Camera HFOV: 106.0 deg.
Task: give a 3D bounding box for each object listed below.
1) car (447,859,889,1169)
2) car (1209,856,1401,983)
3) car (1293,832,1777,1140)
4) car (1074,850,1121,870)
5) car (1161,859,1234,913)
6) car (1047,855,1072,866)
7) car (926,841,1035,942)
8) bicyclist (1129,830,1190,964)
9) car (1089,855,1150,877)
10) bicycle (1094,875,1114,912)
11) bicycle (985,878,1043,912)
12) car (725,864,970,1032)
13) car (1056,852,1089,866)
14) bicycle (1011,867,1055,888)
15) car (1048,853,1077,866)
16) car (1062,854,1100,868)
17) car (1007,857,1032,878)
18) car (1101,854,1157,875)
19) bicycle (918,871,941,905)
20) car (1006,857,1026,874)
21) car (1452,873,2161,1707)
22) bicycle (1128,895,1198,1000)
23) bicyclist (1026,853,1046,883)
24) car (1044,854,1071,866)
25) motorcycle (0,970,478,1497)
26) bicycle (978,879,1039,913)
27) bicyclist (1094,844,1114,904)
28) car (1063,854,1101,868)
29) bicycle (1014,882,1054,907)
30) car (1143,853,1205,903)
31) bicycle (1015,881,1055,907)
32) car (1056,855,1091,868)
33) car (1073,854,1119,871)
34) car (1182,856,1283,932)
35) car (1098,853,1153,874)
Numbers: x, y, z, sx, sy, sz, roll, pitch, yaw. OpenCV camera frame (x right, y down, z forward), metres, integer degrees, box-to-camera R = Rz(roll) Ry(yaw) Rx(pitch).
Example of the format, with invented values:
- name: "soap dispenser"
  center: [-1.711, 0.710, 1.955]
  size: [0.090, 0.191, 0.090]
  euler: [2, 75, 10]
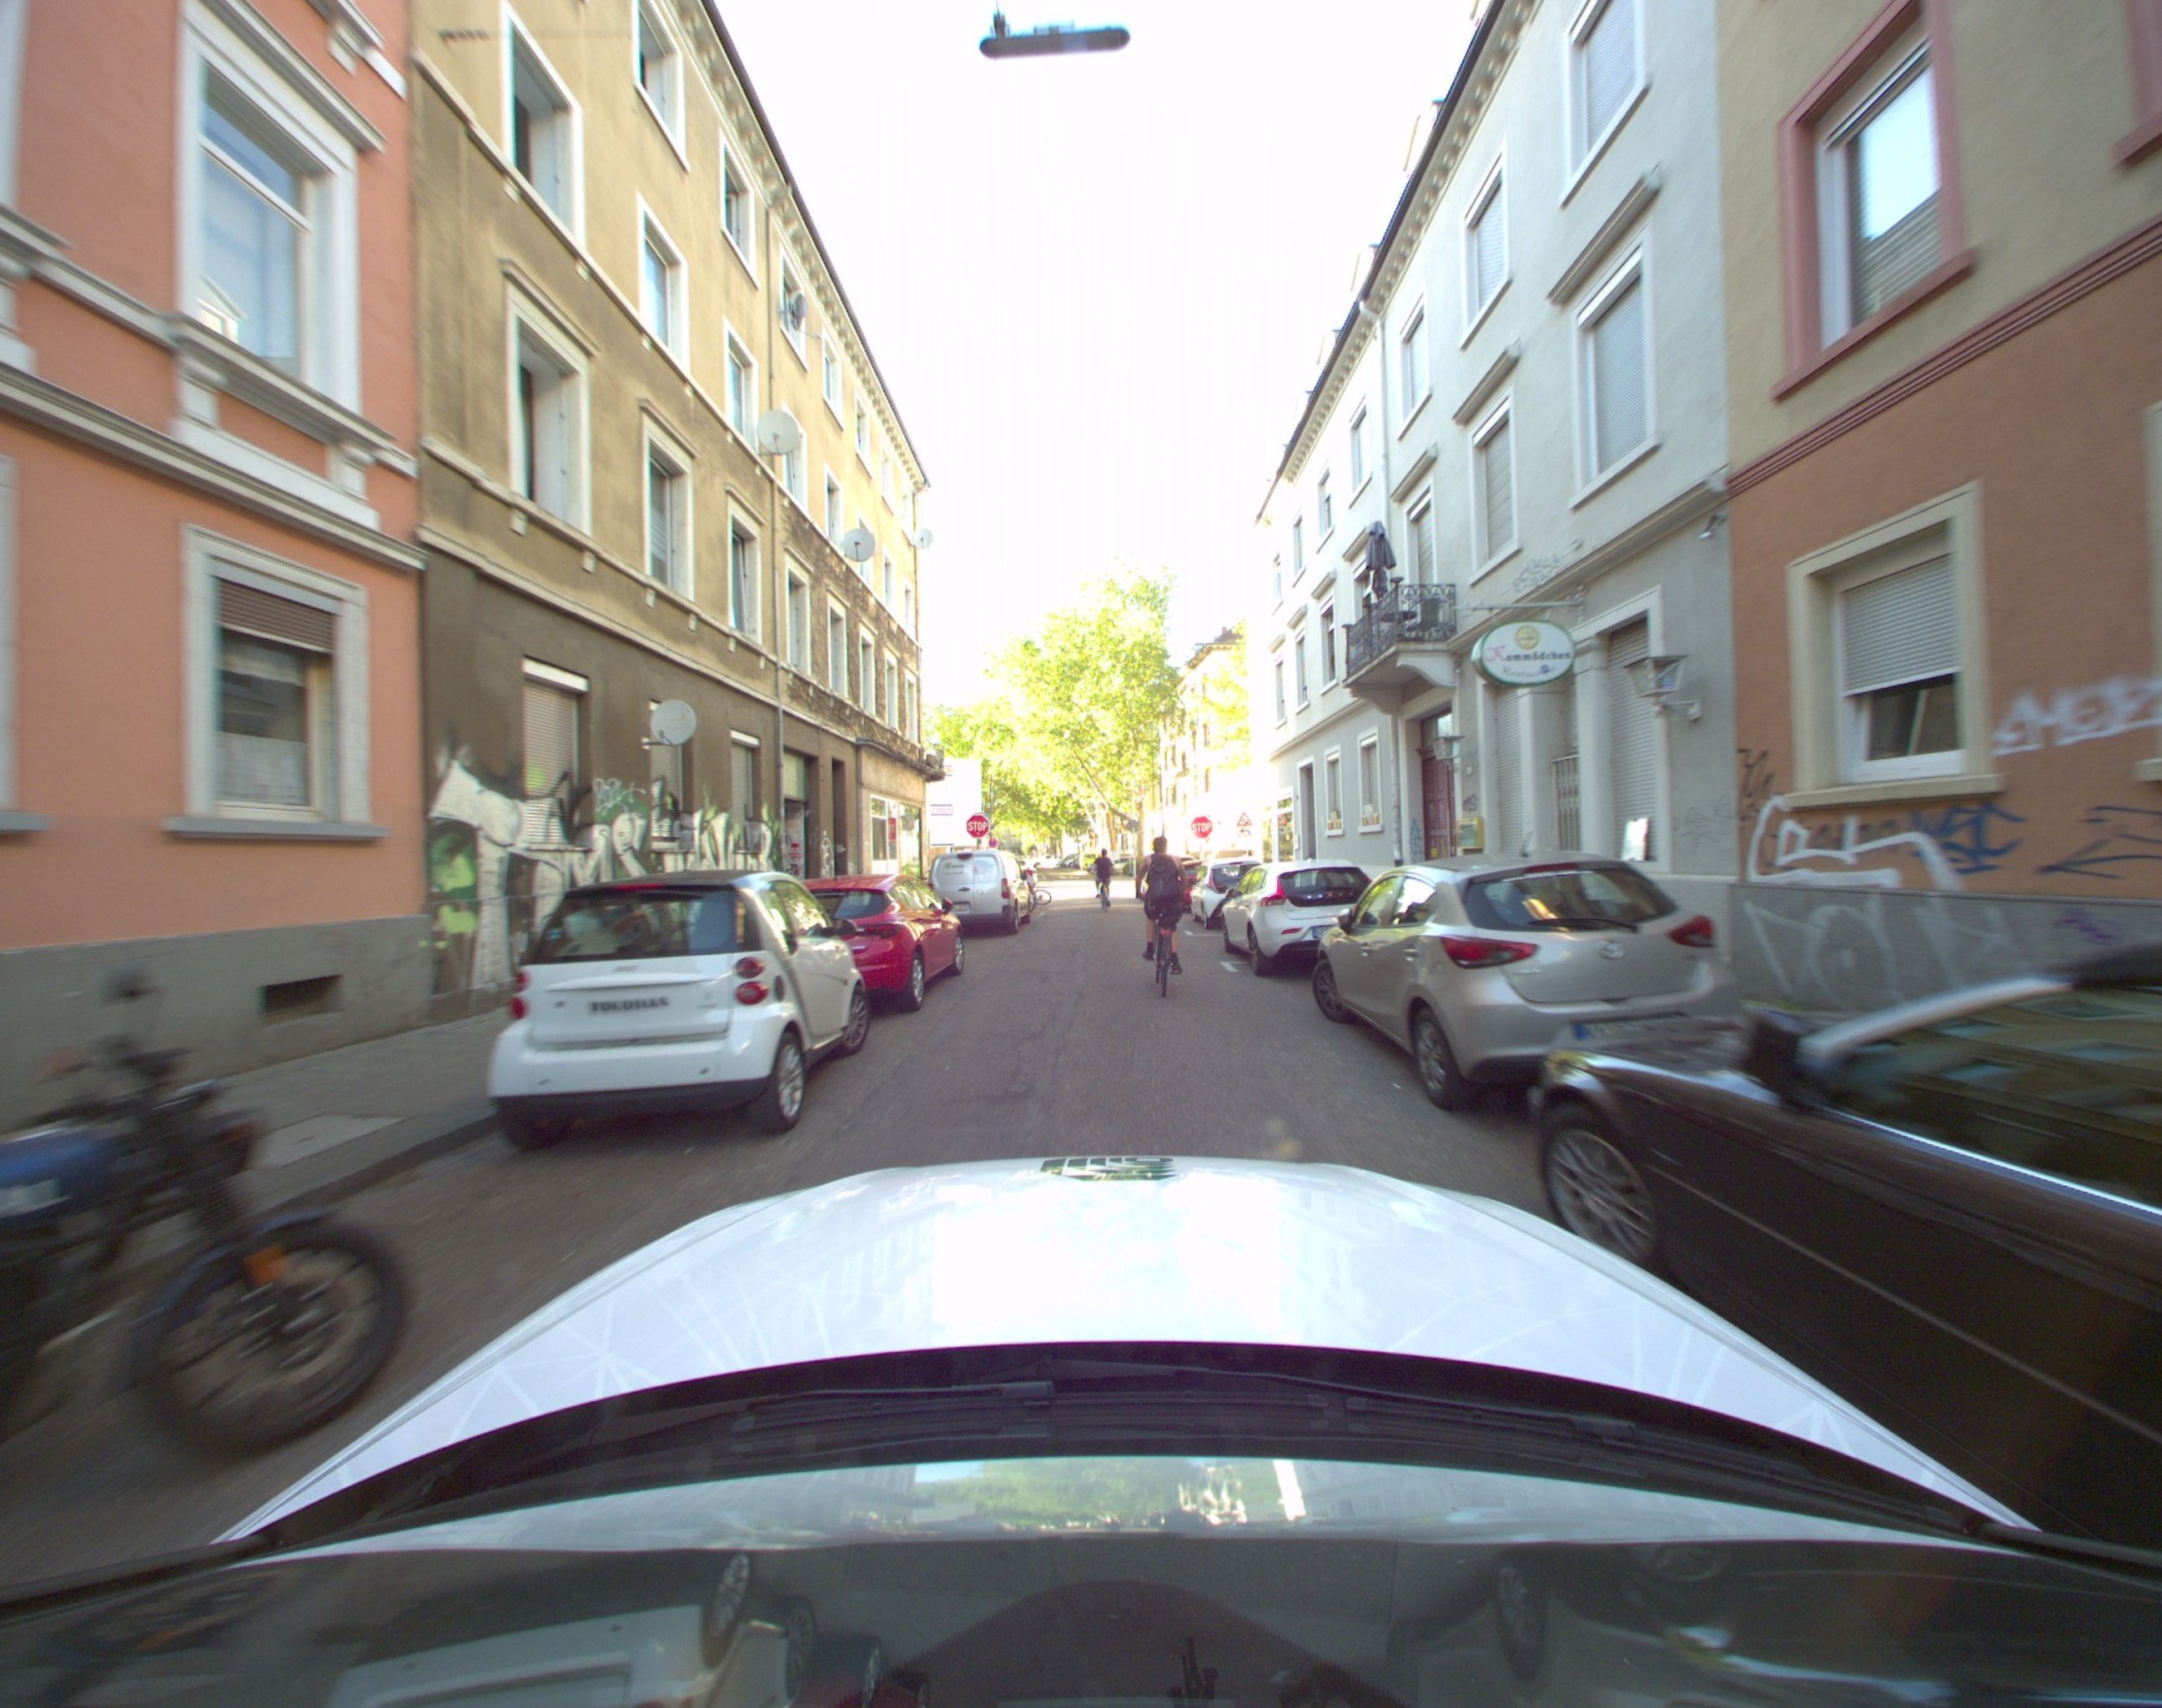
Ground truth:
- name: "car"
  center: [-2.538, 0.853, 5.819]
  size: [1.675, 1.549, 2.957]
  euler: [-3, 0, -3]
- name: "car"
  center: [3.001, 0.792, 11.792]
  size: [1.673, 1.510, 4.190]
  euler: [0, 0, 1]
- name: "car"
  center: [2.913, 0.694, 6.365]
  size: [1.672, 1.597, 4.194]
  euler: [0, 0, 4]
- name: "car"
  center: [1.628, 0.573, 80.753]
  size: [4.458, 1.836, 1.724]
  euler: [-1, 0, -8]
- name: "car"
  center: [3.435, 0.896, 24.701]
  size: [1.640, 1.503, 3.954]
  euler: [0, 0, 0]
- name: "car"
  center: [-4.049, 1.244, 150.767]
  size: [4.457, 1.898, 1.724]
  euler: [-2, 0, -7]
- name: "car"
  center: [-2.157, 0.760, 18.666]
  size: [1.673, 1.910, 4.520]
  euler: [-4, 0, 2]
- name: "bicyclist"
  center: [0.905, 0.482, 9.534]
  size: [0.674, 1.513, 0.669]
  euler: [0, -1, 1]
- name: "car"
  center: [2.916, 0.900, 62.849]
  size: [4.457, 1.571, 1.724]
  euler: [-2, 0, -7]
- name: "bicycle"
  center: [0.655, 1.117, 23.358]
  size: [0.550, 1.016, 1.628]
  euler: [-1, -1, 1]
- name: "bicycle"
  center: [-2.107, 1.278, 25.632]
  size: [1.765, 0.961, 0.479]
  euler: [-2, 0, -11]
- name: "car"
  center: [-2.520, 0.925, 9.905]
  size: [1.674, 1.473, 4.202]
  euler: [-4, 0, 0]
- name: "car"
  center: [-1.260, 0.755, 116.017]
  size: [4.457, 1.898, 1.724]
  euler: [-2, 0, -7]
- name: "bicycle"
  center: [-2.714, 1.329, 46.037]
  size: [2.419, 1.093, 0.894]
  euler: [-1, -2, -6]
- name: "car"
  center: [-2.946, 0.880, 131.466]
  size: [4.457, 1.898, 1.724]
  euler: [-2, 0, -7]
- name: "car"
  center: [-0.021, 0.878, 101.687]
  size: [4.457, 1.571, 1.724]
  euler: [-2, 0, -7]
- name: "car"
  center: [-4.812, 1.024, 62.975]
  size: [1.642, 1.494, 3.990]
  euler: [-4, 0, -7]
- name: "car"
  center: [3.970, 0.848, 67.806]
  size: [4.457, 1.571, 1.724]
  euler: [-2, 0, -7]
- name: "bicycle"
  center: [-5.077, 1.132, 27.322]
  size: [0.396, 1.092, 1.592]
  euler: [-2, -1, 1]
- name: "car"
  center: [-6.310, 1.069, 78.854]
  size: [1.664, 1.562, 3.990]
  euler: [-1, 0, -7]
- name: "car"
  center: [2.619, 0.780, 1.629]
  size: [1.761, 1.394, 4.495]
  euler: [0, 0, 1]
- name: "bicycle"
  center: [0.919, 1.038, 9.571]
  size: [0.687, 1.016, 1.908]
  euler: [0, 0, 2]
- name: "bicyclist"
  center: [-2.550, 0.801, 46.068]
  size: [1.095, 1.640, 0.894]
  euler: [-1, -2, -6]
- name: "car"
  center: [-4.107, 1.085, 141.869]
  size: [4.457, 1.898, 1.724]
  euler: [-2, 0, -7]
- name: "motorcycle"
  center: [-3.033, 0.984, 2.219]
  size: [2.082, 1.128, 0.785]
  euler: [0, 0, -21]
- name: "bicycle"
  center: [-2.151, 1.248, 24.245]
  size: [1.759, 0.961, 0.405]
  euler: [-2, 0, -1]
- name: "bicyclist"
  center: [0.648, 0.577, 23.306]
  size: [0.540, 1.688, 0.653]
  euler: [-1, -1, 0]
- name: "car"
  center: [0.078, 0.854, 99.214]
  size: [4.457, 1.571, 1.724]
  euler: [-2, 0, -7]
- name: "bicycle"
  center: [-1.598, 1.375, 27.776]
  size: [1.308, 0.818, 0.370]
  euler: [-2, 0, -9]
- name: "car"
  center: [3.305, 0.816, 29.577]
  size: [1.755, 1.662, 4.196]
  euler: [0, 0, 0]
- name: "bicycle"
  center: [-1.549, 1.336, 27.401]
  size: [1.308, 0.818, 0.354]
  euler: [-2, 0, -9]
- name: "car"
  center: [-1.008, 0.932, 106.367]
  size: [4.457, 1.571, 1.724]
  euler: [-2, 0, -7]
- name: "car"
  center: [1.540, 0.855, 82.765]
  size: [4.457, 1.571, 1.724]
  euler: [-2, 0, -7]
- name: "car"
  center: [3.408, 0.845, 18.940]
  size: [1.631, 1.587, 3.787]
  euler: [0, 0, 0]
- name: "car"
  center: [3.766, 0.794, 69.879]
  size: [4.457, 1.671, 1.724]
  euler: [-2, 0, -7]
